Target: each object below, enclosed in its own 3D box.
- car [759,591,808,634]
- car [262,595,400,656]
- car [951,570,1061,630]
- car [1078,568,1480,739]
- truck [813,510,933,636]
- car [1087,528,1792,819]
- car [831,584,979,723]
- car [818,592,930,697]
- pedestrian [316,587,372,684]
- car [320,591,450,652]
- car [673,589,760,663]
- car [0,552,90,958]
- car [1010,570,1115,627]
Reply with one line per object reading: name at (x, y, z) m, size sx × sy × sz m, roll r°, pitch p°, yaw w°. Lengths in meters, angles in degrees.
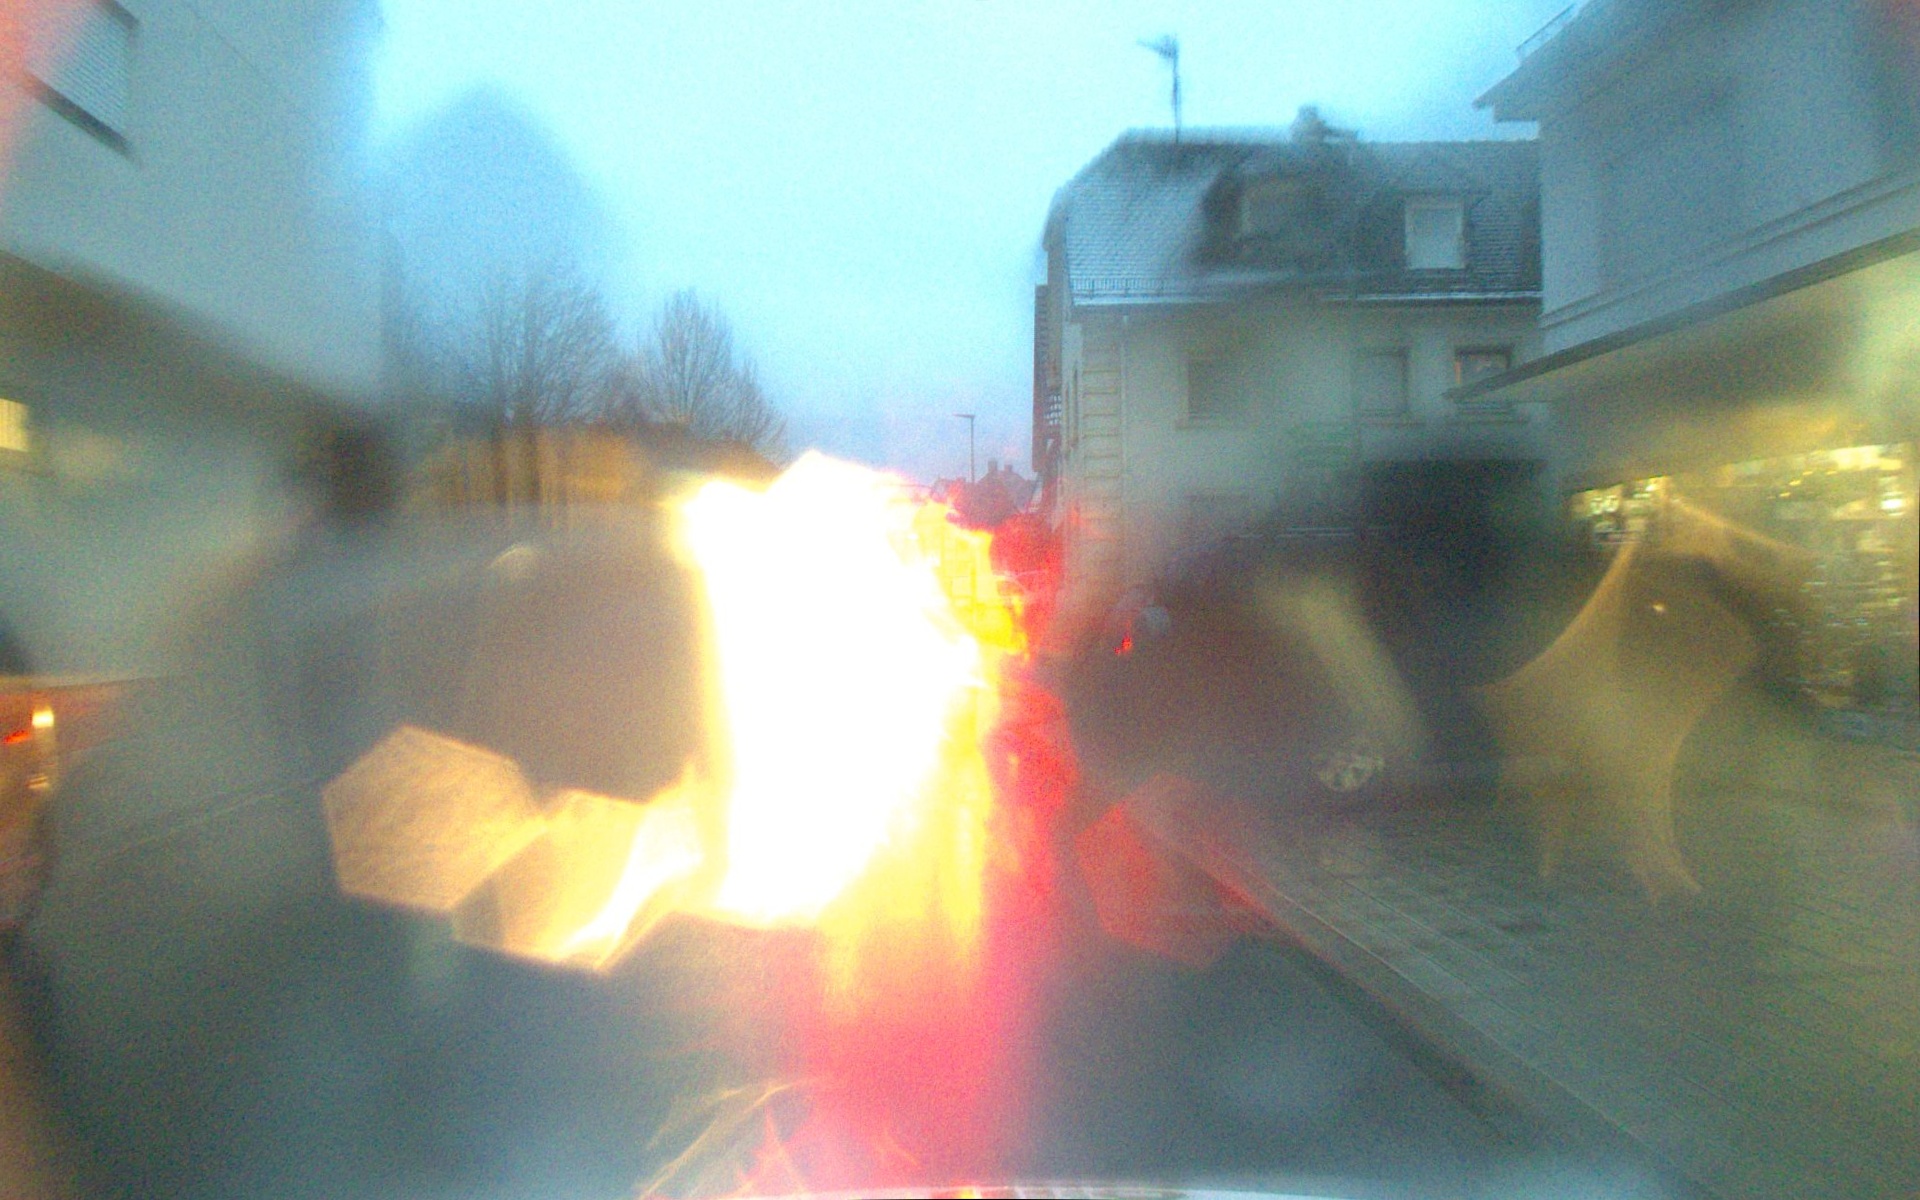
car at (-7.002, 0.481, 66.029) m, size 1.775 × 1.624 × 4.396 m, roll 0°, pitch 1°, yaw -4°
car at (-20.550, 0.804, 54.076) m, size 3.902 × 1.944 × 1.820 m, roll 0°, pitch 0°, yaw 16°
car at (1.753, -0.016, 61.758) m, size 4.011 × 2.200 × 1.914 m, roll 0°, pitch 0°, yaw 3°
car at (3.287, 0.522, 17.378) m, size 3.798 × 1.607 × 1.678 m, roll -1°, pitch 0°, yaw -9°
truck at (-2.557, -0.706, 45.914) m, size 2.957 × 3.183 × 7.990 m, roll 0°, pitch 0°, yaw -6°
car at (3.350, 0.456, 12.026) m, size 4.517 × 1.807 × 1.942 m, roll -1°, pitch 1°, yaw -8°
car at (-0.691, 0.586, 19.691) m, size 1.605 × 1.507 × 3.377 m, roll 0°, pitch 0°, yaw -3°
car at (-1.320, 0.636, 25.568) m, size 1.605 × 1.507 × 3.269 m, roll 0°, pitch 1°, yaw -3°
pedestrian at (-9.609, 0.545, 25.786) m, size 0.644 × 1.484 × 0.641 m, roll 0°, pitch 0°, yaw -40°
car at (-19.795, 0.729, 57.000) m, size 3.902 × 2.033 × 1.820 m, roll 0°, pitch 0°, yaw 16°
car at (-5.395, 0.541, 36.950) m, size 1.605 × 1.562 × 3.404 m, roll 0°, pitch 0°, yaw -3°
car at (-4.751, 0.638, 5.598) m, size 1.758 × 1.671 × 3.810 m, roll 1°, pitch 0°, yaw -3°
car at (3.981, -0.067, 64.204) m, size 4.011 × 2.189 × 1.914 m, roll 0°, pitch 0°, yaw 4°
